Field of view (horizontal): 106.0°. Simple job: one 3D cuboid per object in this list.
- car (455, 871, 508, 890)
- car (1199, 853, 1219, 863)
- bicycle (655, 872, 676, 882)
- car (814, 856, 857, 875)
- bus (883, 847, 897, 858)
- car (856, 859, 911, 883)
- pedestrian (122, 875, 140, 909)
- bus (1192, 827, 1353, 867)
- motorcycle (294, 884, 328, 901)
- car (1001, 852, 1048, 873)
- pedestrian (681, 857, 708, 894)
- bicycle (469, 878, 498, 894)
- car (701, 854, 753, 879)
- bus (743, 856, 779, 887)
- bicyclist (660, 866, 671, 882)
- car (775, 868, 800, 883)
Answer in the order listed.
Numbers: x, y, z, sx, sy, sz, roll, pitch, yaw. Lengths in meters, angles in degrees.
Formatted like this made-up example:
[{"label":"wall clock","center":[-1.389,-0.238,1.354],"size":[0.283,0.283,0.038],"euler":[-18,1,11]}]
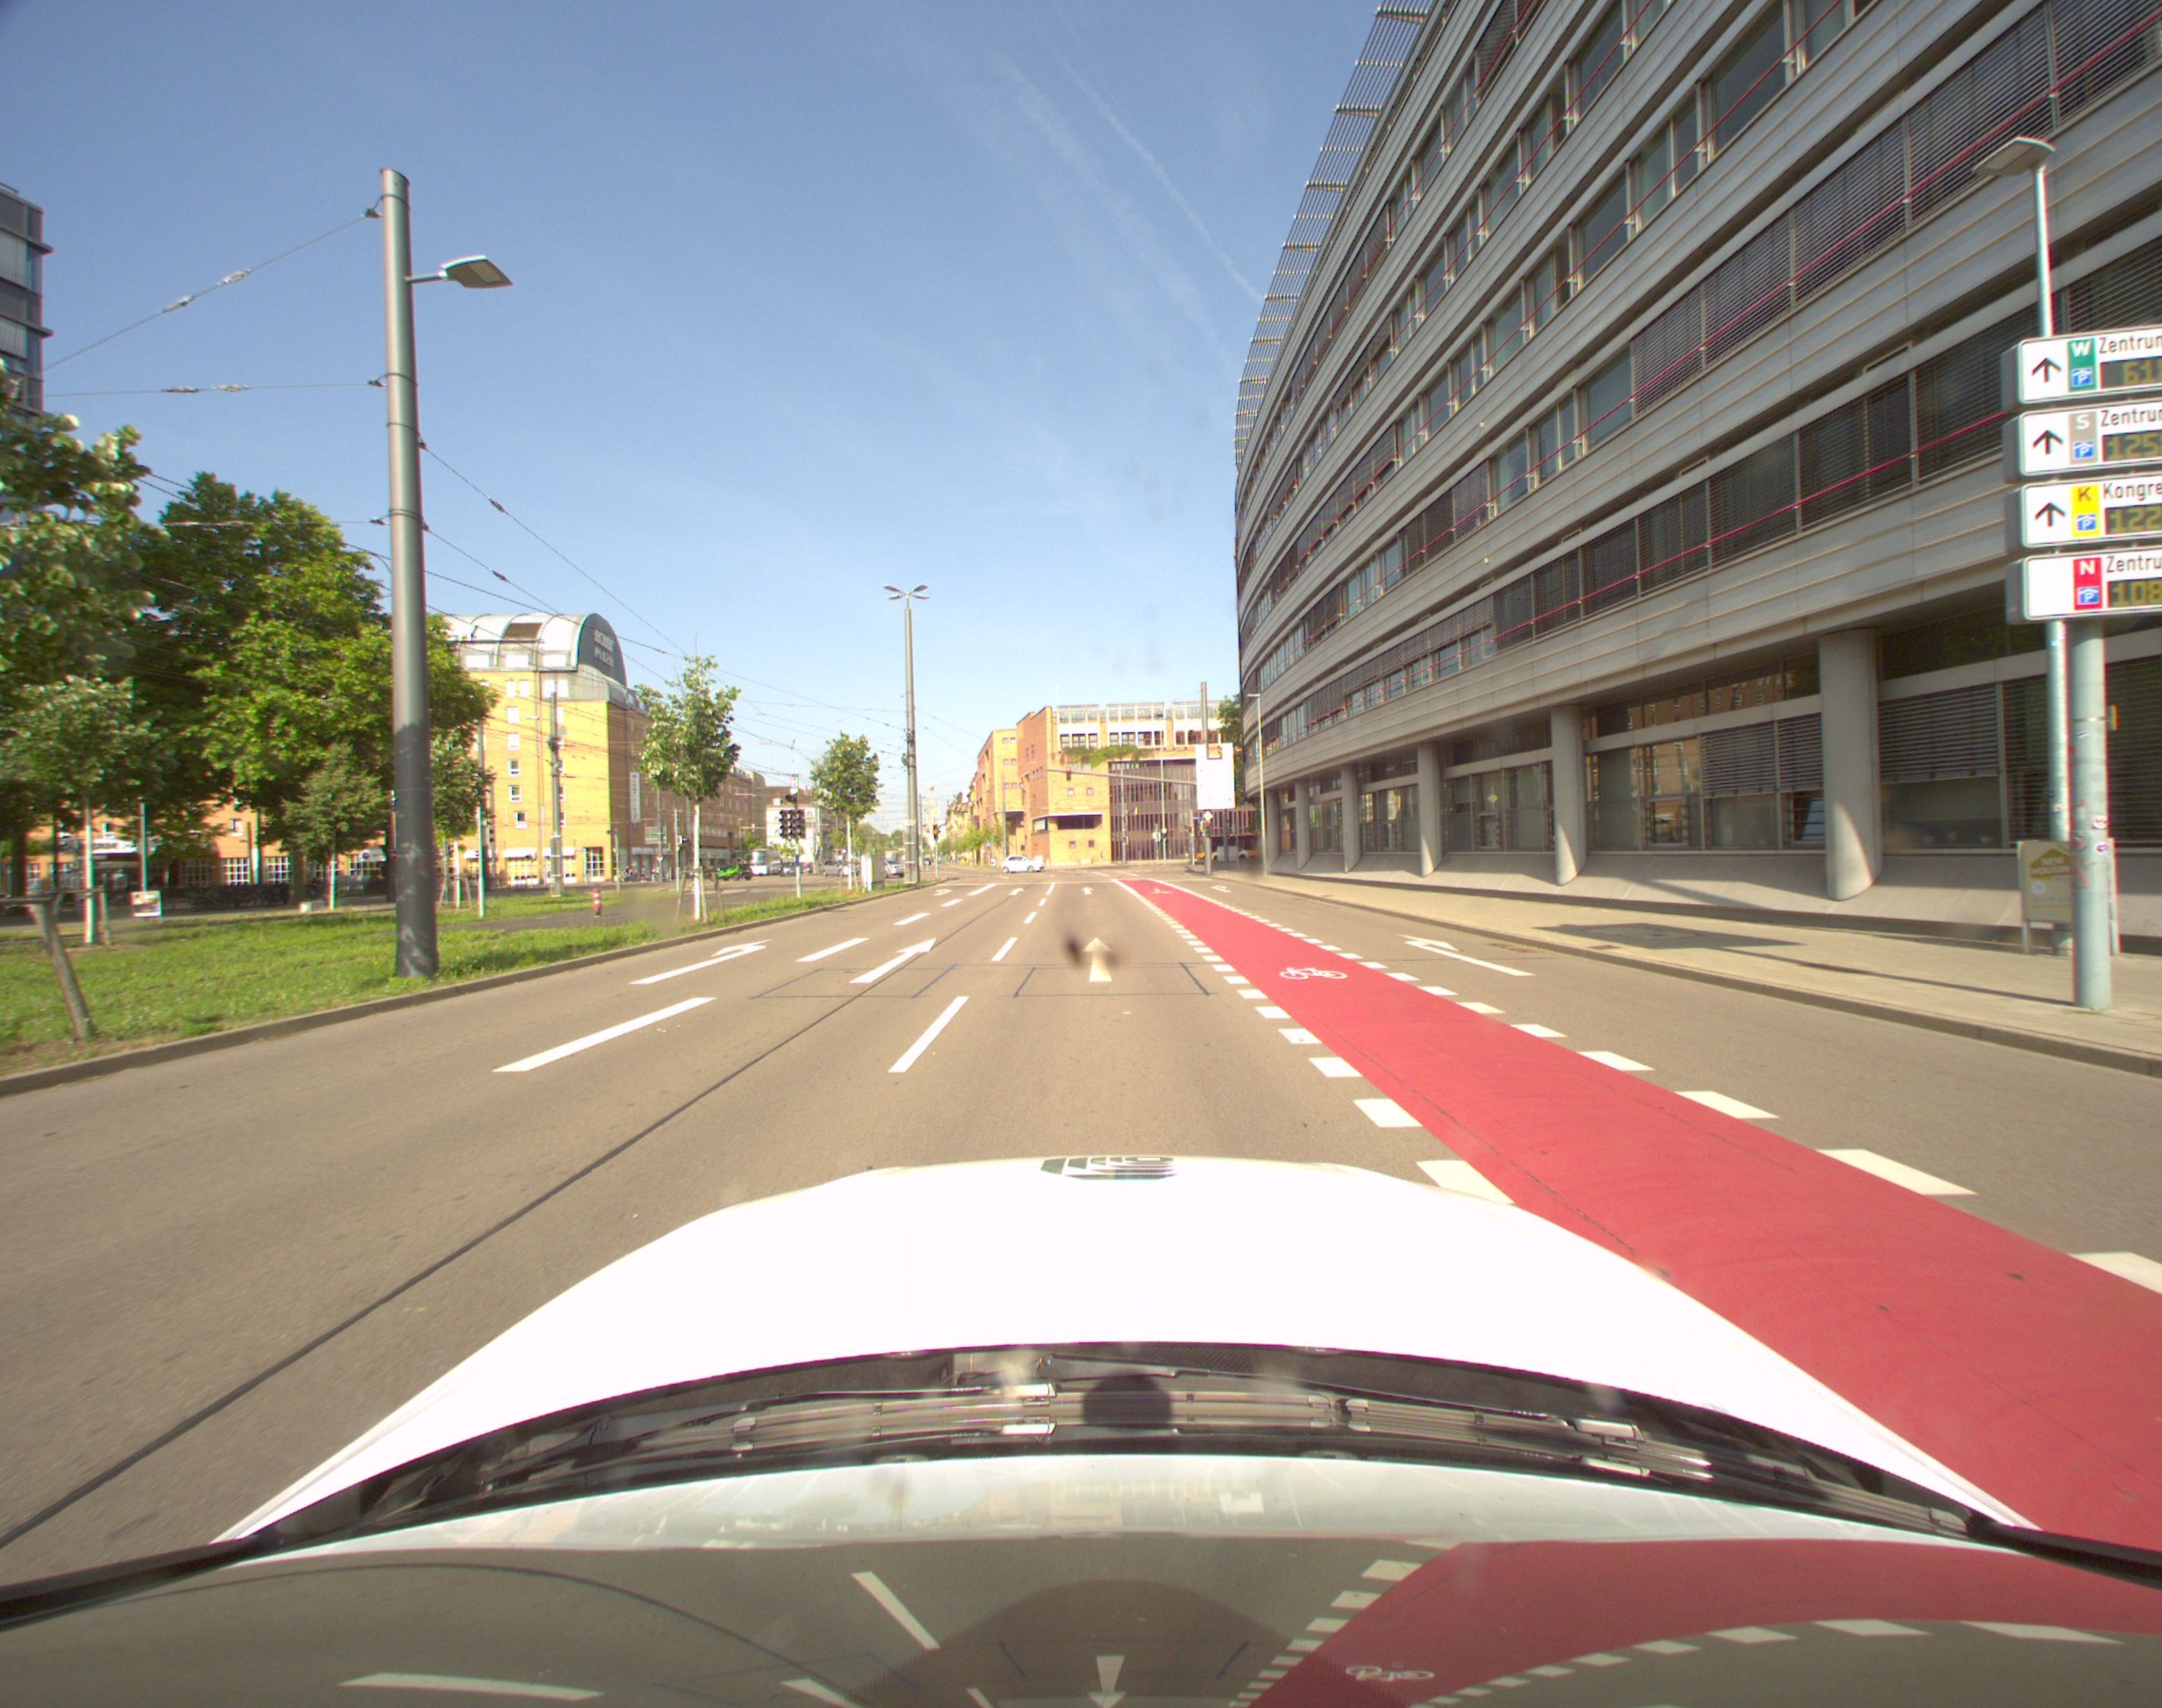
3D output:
[{"label":"car","center":[-57.636,2.551,78.342],"size":[3.610,1.624,1.862],"euler":[-2,0,-9]},{"label":"car","center":[13.239,0.400,84.291],"size":[1.946,0.958,1.093],"euler":[0,-2,-2]},{"label":"bicycle","center":[-46.484,2.579,91.149],"size":[1.964,0.970,0.417],"euler":[-2,-2,-16]},{"label":"car","center":[-23.391,1.114,77.508],"size":[4.336,1.634,1.701],"euler":[-1,2,40]},{"label":"bus","center":[-34.616,-0.241,147.447],"size":[1.999,2.013,3.975],"euler":[-2,0,-19]},{"label":"car","center":[-15.666,1.323,64.552],"size":[3.844,1.755,1.719],"euler":[-3,-1,21]},{"label":"pedestrian","center":[-58.408,2.331,50.082],"size":[0.489,2.014,0.538],"euler":[-2,-2,-8]},{"label":"bus","center":[21.166,-0.770,89.939],"size":[17.610,3.811,2.855],"euler":[-2,-2,-10]},{"label":"motorcycle","center":[-48.271,2.383,51.070],"size":[1.689,0.995,0.283],"euler":[-2,-2,-9]},{"label":"car","center":[-4.677,0.718,67.363],"size":[3.408,1.542,1.743],"euler":[-2,-2,19]},{"label":"pedestrian","center":[-21.505,1.198,45.331],"size":[1.156,2.014,0.773],"euler":[-2,-2,-12]},{"label":"bicycle","center":[-48.120,2.575,65.612],"size":[0.546,1.206,2.288],"euler":[-2,-1,3]},{"label":"car","center":[-31.708,1.136,72.937],"size":[3.952,2.014,2.011],"euler":[-3,-2,22]},{"label":"bus","center":[-43.405,2.399,110.855],"size":[2.749,3.921,12.160],"euler":[-2,-1,-13]},{"label":"bicyclist","center":[-46.501,2.216,91.154],"size":[0.989,1.695,0.667],"euler":[-1,-2,-16]},{"label":"car","center":[-31.309,2.291,86.730],"size":[1.709,1.492,3.567],"euler":[-4,1,-32]}]
